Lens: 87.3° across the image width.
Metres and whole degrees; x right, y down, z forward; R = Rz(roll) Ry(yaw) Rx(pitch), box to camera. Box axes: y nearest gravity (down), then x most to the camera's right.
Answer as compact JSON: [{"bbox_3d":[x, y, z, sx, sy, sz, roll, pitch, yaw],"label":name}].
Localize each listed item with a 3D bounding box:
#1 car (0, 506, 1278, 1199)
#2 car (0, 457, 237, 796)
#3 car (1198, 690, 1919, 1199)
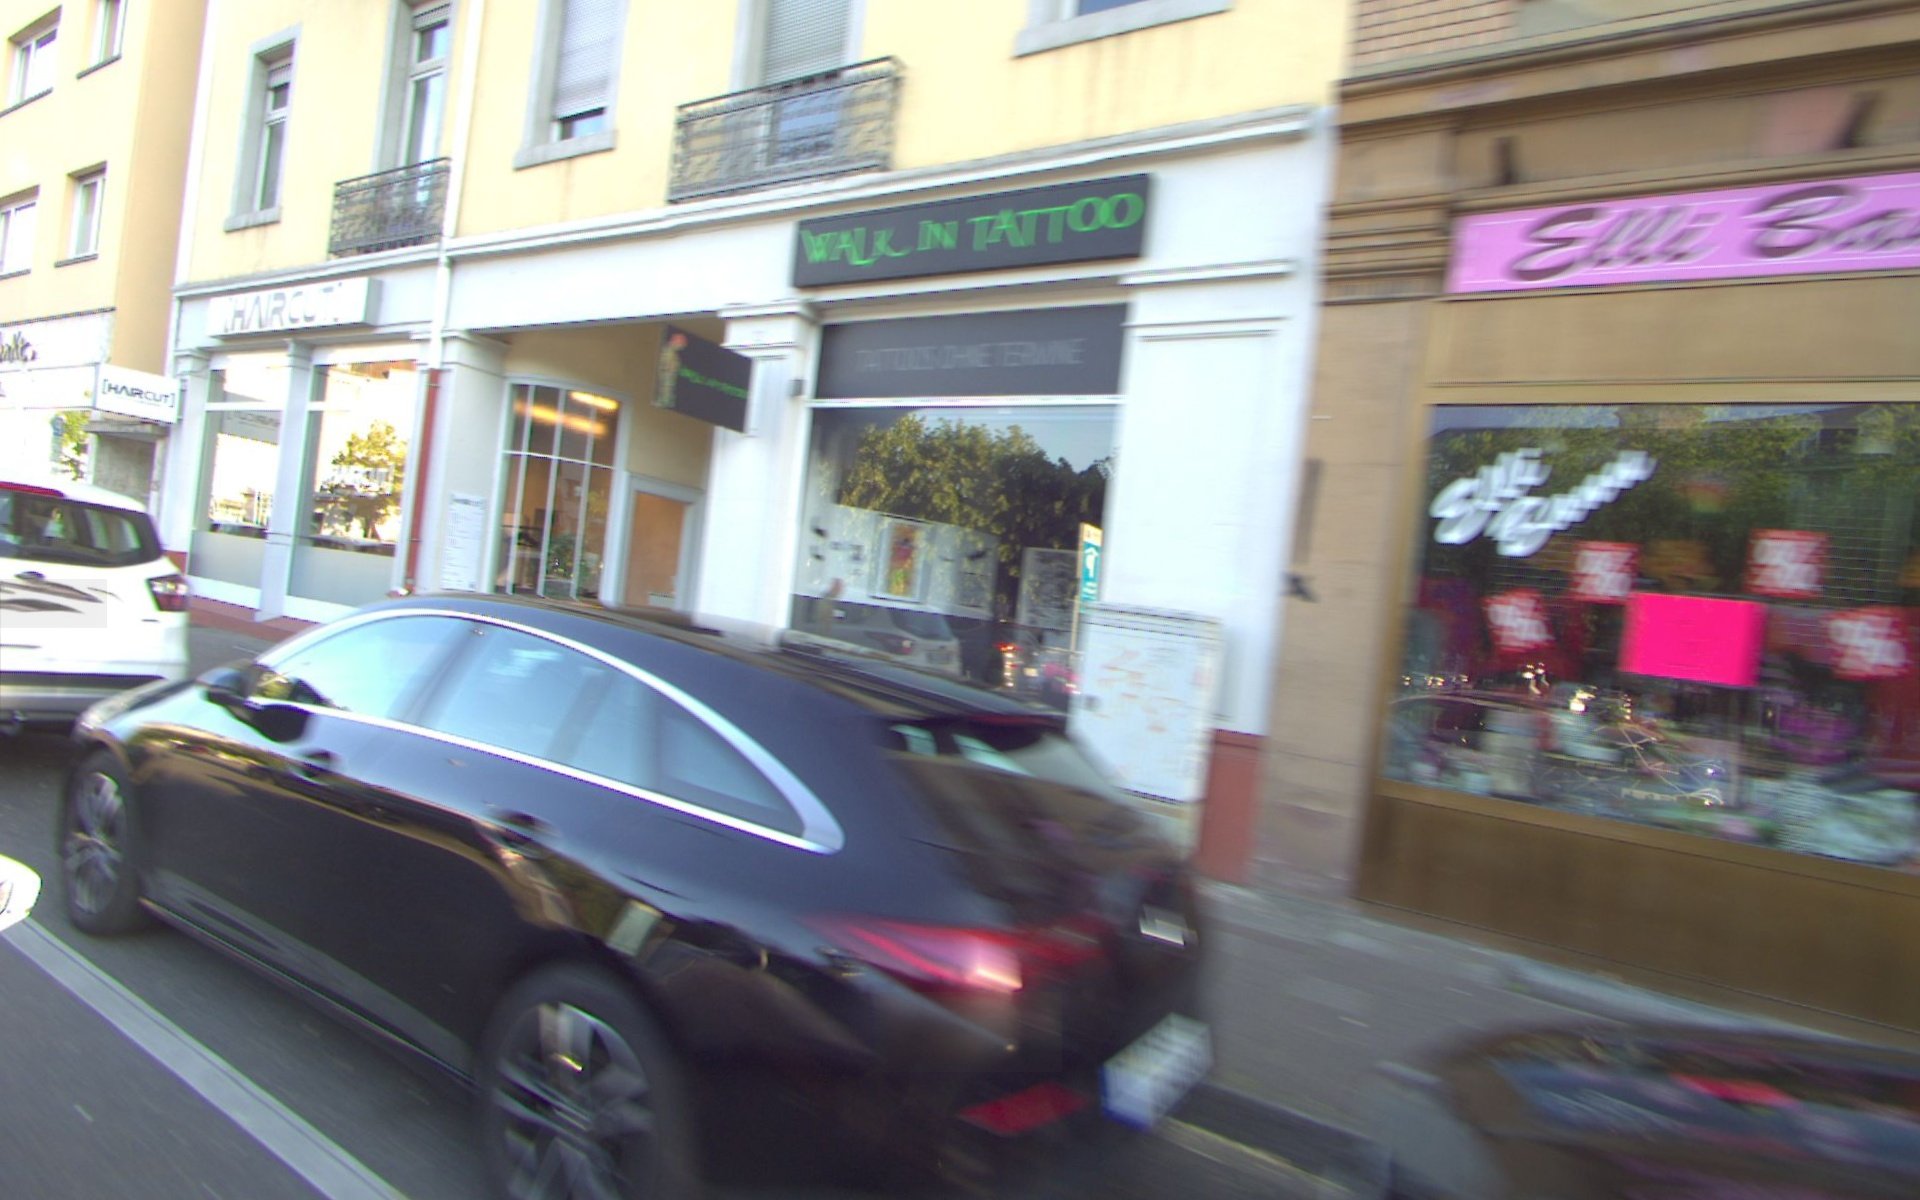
[{"bbox_3d":[-1.410,0.648,3.509,4.400,1.464,1.734,6,-3,32],"label":"car"},{"bbox_3d":[-6.479,-0.033,6.147,4.214,1.669,1.734,6,-3,32],"label":"car"},{"bbox_3d":[2.584,1.130,0.749,4.450,1.464,1.734,6,-3,32],"label":"car"}]
